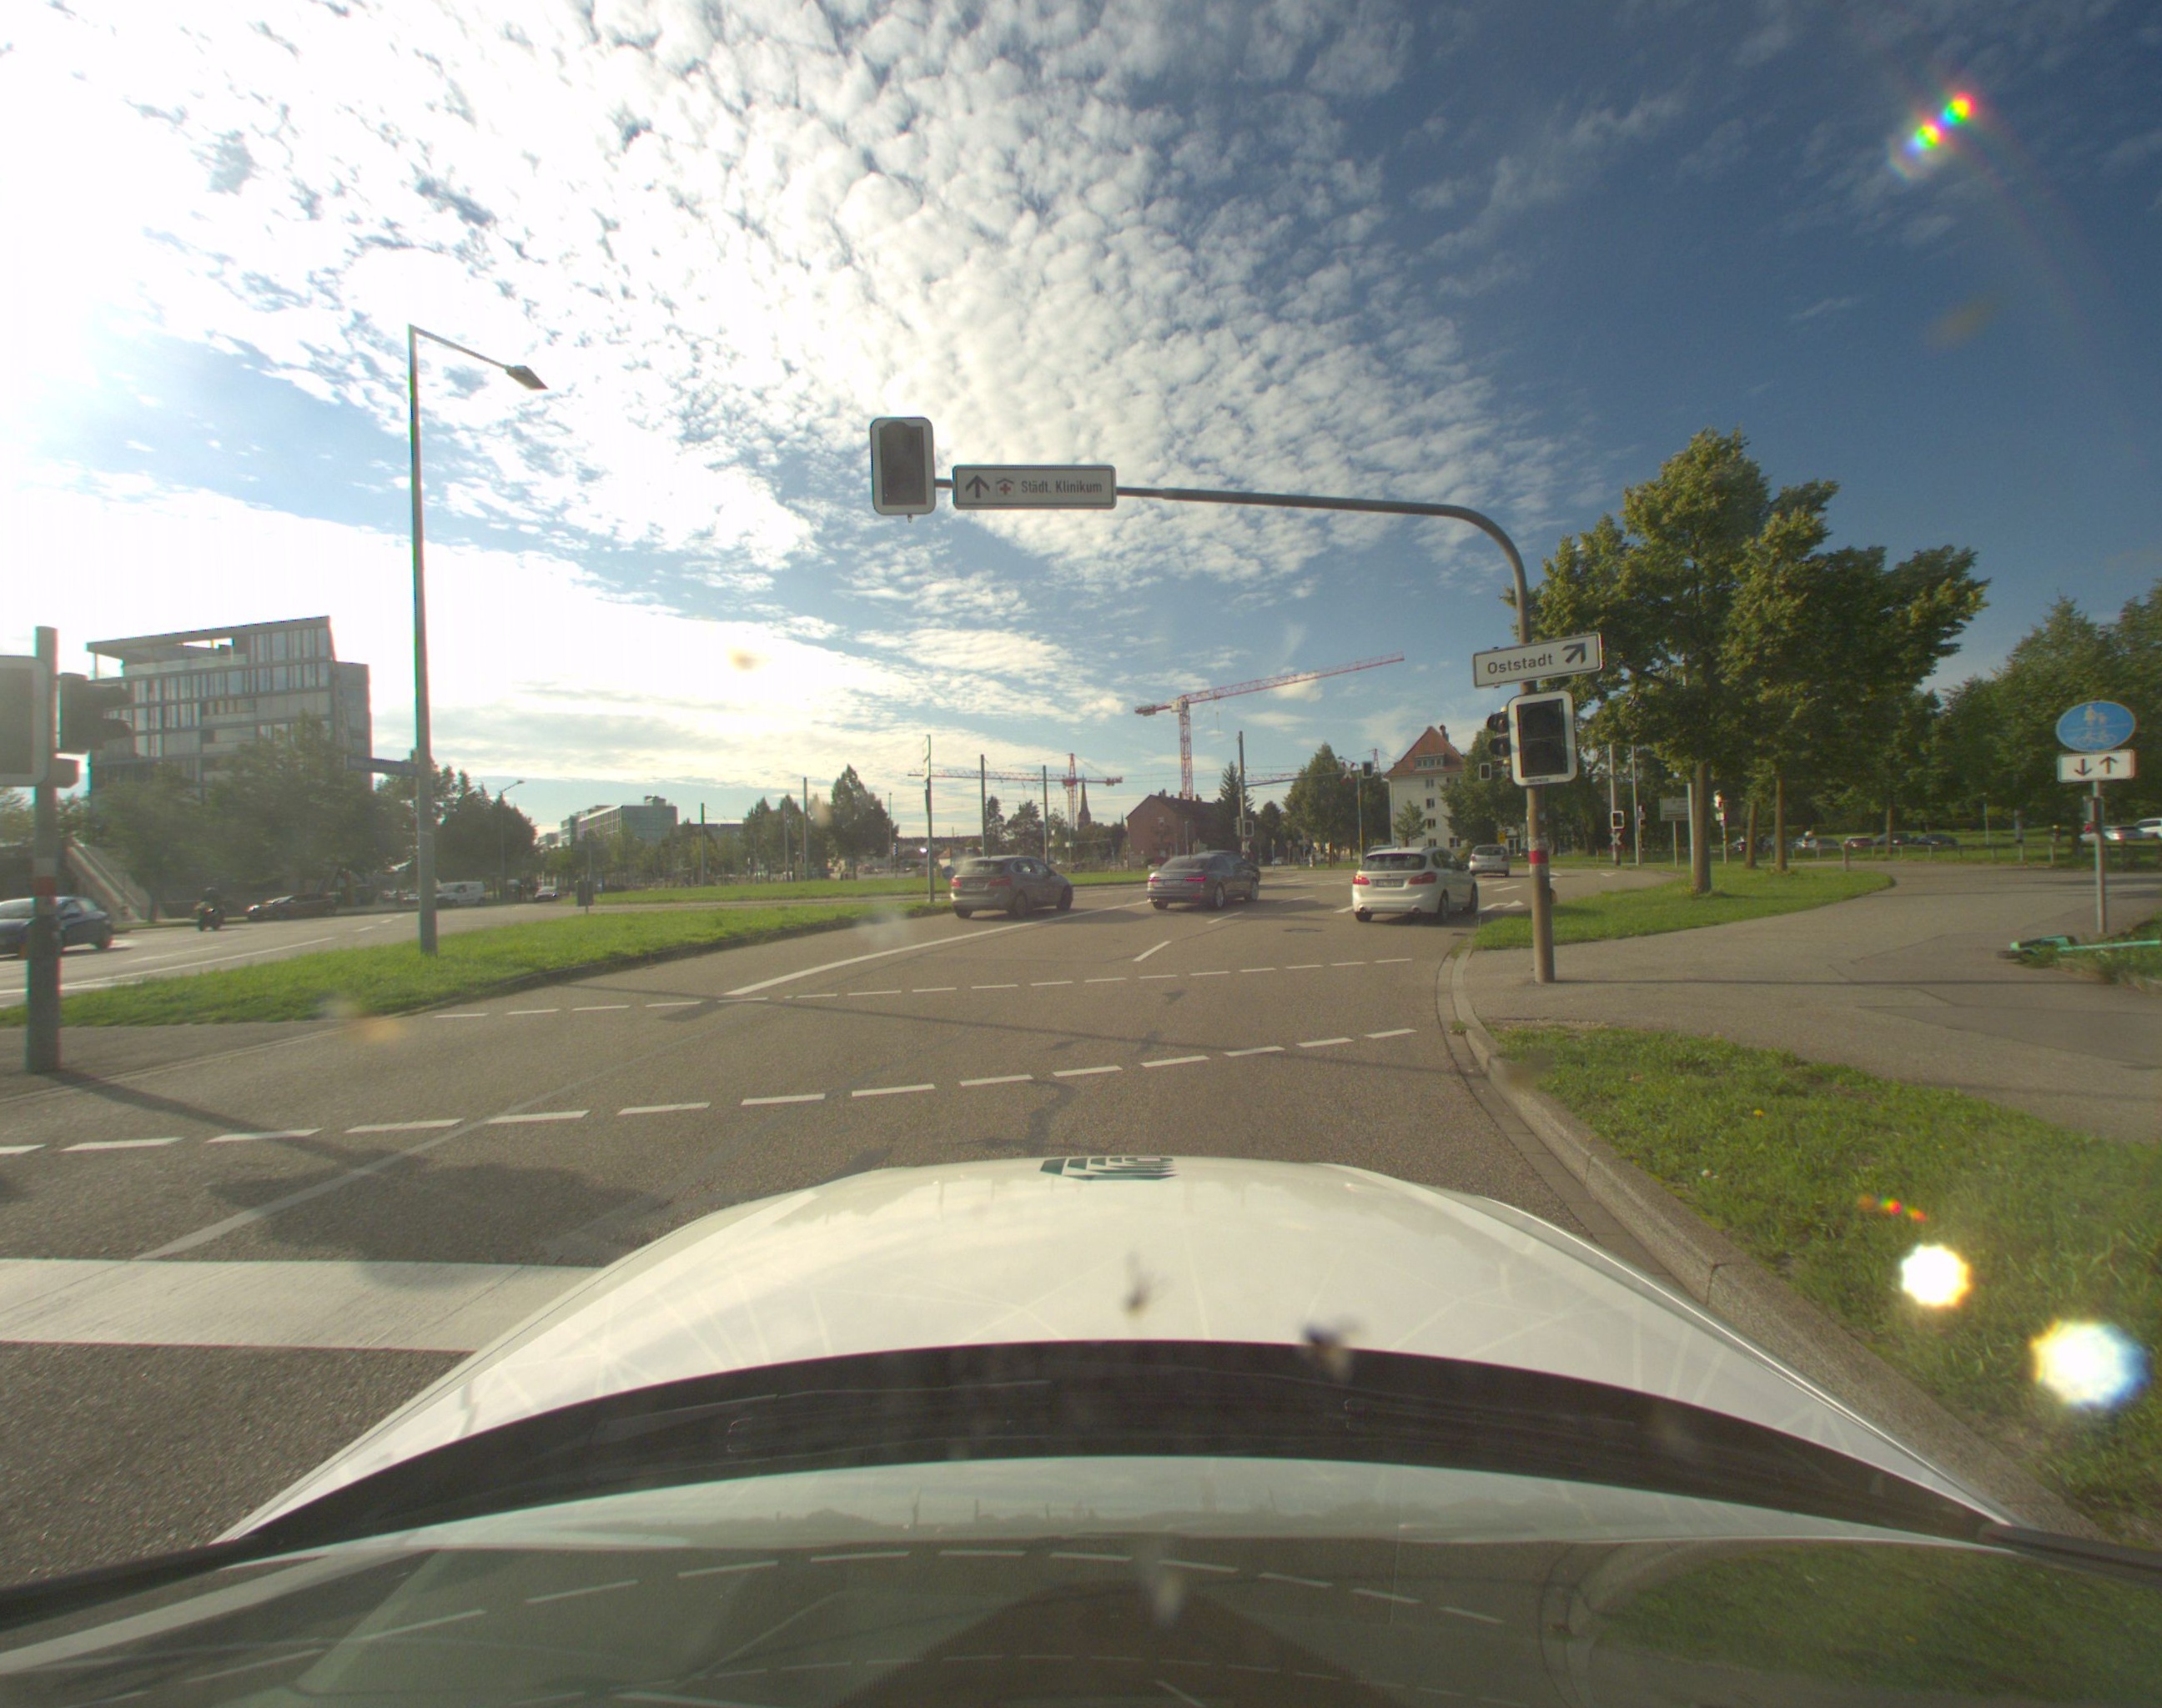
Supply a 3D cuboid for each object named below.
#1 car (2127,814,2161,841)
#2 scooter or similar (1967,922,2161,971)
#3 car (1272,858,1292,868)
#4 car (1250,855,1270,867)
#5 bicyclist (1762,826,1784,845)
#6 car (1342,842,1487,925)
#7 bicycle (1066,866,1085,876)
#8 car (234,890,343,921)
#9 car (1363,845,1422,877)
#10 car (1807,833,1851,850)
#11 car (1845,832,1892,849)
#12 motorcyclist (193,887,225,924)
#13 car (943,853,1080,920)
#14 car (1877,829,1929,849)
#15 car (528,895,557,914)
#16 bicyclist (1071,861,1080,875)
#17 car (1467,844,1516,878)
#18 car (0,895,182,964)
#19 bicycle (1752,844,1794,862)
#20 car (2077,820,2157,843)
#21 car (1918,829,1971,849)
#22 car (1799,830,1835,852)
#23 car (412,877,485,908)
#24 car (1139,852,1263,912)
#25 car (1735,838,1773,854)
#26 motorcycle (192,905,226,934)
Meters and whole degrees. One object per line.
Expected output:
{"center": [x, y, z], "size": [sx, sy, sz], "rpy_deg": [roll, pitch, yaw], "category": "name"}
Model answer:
{"center": [82.188, -2.038, 61.564], "size": [2.287, 2.007, 5.146], "rpy_deg": [-3, -1, 34], "category": "car"}
{"center": [10.173, 0.906, 8.198], "size": [1.556, 0.281, 1.283], "rpy_deg": [-2, -1, -24], "category": "scooter or similar"}
{"center": [33.600, 1.504, 136.198], "size": [1.877, 1.543, 4.690], "rpy_deg": [-2, -1, 31], "category": "car"}
{"center": [29.941, 1.197, 135.981], "size": [1.877, 1.903, 4.690], "rpy_deg": [-2, -1, 31], "category": "car"}
{"center": [52.193, -1.412, 61.465], "size": [0.999, 1.355, 0.714], "rpy_deg": [-2, -1, -1], "category": "bicyclist"}
{"center": [7.438, 0.586, 17.903], "size": [1.832, 1.572, 4.483], "rpy_deg": [-2, -1, 37], "category": "car"}
{"center": [-0.655, 2.061, 98.845], "size": [2.130, 1.137, 0.774], "rpy_deg": [-3, -1, 9], "category": "bicycle"}
{"center": [-43.555, 2.798, 44.871], "size": [1.752, 1.420, 4.011], "rpy_deg": [-2, -1, 9], "category": "car"}
{"center": [15.139, 0.337, 39.458], "size": [1.832, 1.478, 4.483], "rpy_deg": [-2, -1, 32], "category": "car"}
{"center": [65.519, -1.035, 71.395], "size": [1.837, 1.358, 4.864], "rpy_deg": [-3, -1, 31], "category": "car"}
{"center": [67.635, -1.136, 70.010], "size": [1.837, 1.363, 4.497], "rpy_deg": [-3, -1, 31], "category": "car"}
{"center": [-33.775, 1.991, 31.545], "size": [0.931, 1.366, 0.789], "rpy_deg": [-3, -1, 42], "category": "motorcyclist"}
{"center": [-1.704, 0.799, 21.459], "size": [1.751, 1.572, 4.090], "rpy_deg": [-1, -1, 25], "category": "car"}
{"center": [69.368, -1.204, 68.787], "size": [1.837, 1.515, 4.976], "rpy_deg": [-3, -1, 31], "category": "car"}
{"center": [-46.601, 4.341, 70.534], "size": [1.690, 1.501, 3.956], "rpy_deg": [-4, 0, -29], "category": "car"}
{"center": [-0.684, 1.676, 98.853], "size": [0.951, 1.575, 0.774], "rpy_deg": [-3, -1, 10], "category": "bicyclist"}
{"center": [18.652, 0.310, 37.056], "size": [1.833, 1.426, 4.481], "rpy_deg": [-1, -1, 26], "category": "car"}
{"center": [-26.746, 1.963, 21.892], "size": [1.784, 1.501, 3.965], "rpy_deg": [-4, 0, -21], "category": "car"}
{"center": [52.412, -0.083, 61.682], "size": [2.512, 1.222, 0.714], "rpy_deg": [-3, -1, -1], "category": "bicycle"}
{"center": [79.674, -1.694, 62.694], "size": [1.838, 1.515, 4.494], "rpy_deg": [-3, -1, 23], "category": "car"}
{"center": [71.714, -1.197, 67.697], "size": [1.837, 1.515, 4.497], "rpy_deg": [-3, -1, 31], "category": "car"}
{"center": [72.895, -1.237, 80.714], "size": [1.853, 2.014, 4.840], "rpy_deg": [-1, -1, 33], "category": "car"}
{"center": [-42.424, 2.563, 54.722], "size": [1.679, 1.825, 4.549], "rpy_deg": [-4, 0, -7], "category": "car"}
{"center": [3.506, 0.724, 22.976], "size": [1.833, 1.445, 4.744], "rpy_deg": [-2, 0, 29], "category": "car"}
{"center": [60.757, -0.716, 73.590], "size": [1.837, 1.359, 4.763], "rpy_deg": [-3, -1, 31], "category": "car"}
{"center": [-33.848, 2.530, 31.615], "size": [1.998, 0.986, 0.789], "rpy_deg": [-2, 0, 40], "category": "motorcycle"}
